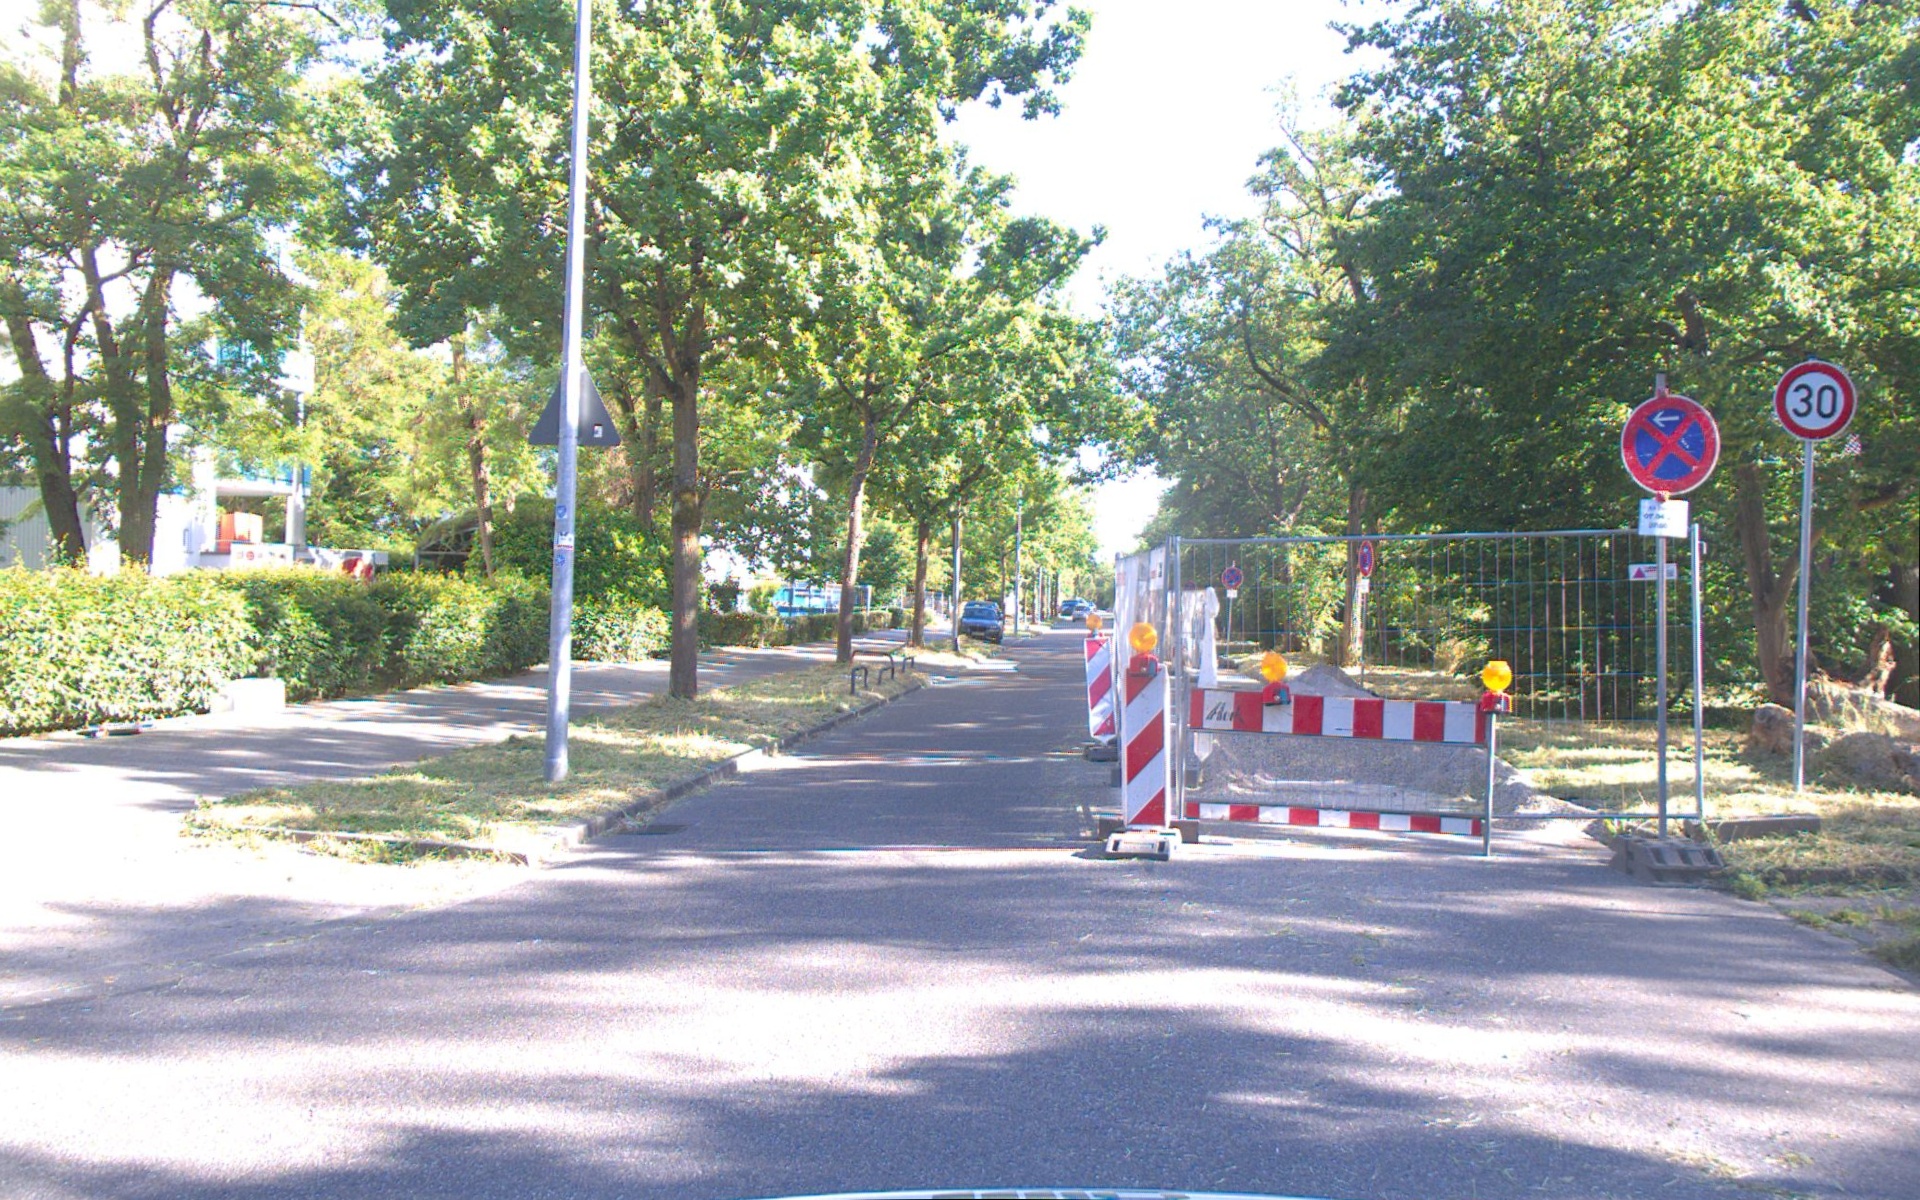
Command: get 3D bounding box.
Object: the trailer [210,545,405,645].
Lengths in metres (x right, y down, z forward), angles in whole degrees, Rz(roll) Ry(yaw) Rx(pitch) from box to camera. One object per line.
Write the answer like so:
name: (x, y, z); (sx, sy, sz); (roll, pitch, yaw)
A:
trailer: (-14.604, -0.100, 37.314); (1.934, 2.078, 4.433); (1, 0, 12)

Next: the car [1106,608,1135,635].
car: (8.509, 1.137, 87.697); (1.333, 1.325, 3.482); (2, -1, 3)

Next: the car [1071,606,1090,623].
car: (11.960, 1.427, 164.010); (1.675, 1.613, 4.000); (2, -1, 1)

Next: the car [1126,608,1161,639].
car: (8.267, 1.078, 74.697); (1.333, 1.325, 3.482); (2, -1, 3)

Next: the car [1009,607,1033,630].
car: (3.724, 1.126, 100.700); (1.333, 1.325, 3.482); (2, -1, 3)
